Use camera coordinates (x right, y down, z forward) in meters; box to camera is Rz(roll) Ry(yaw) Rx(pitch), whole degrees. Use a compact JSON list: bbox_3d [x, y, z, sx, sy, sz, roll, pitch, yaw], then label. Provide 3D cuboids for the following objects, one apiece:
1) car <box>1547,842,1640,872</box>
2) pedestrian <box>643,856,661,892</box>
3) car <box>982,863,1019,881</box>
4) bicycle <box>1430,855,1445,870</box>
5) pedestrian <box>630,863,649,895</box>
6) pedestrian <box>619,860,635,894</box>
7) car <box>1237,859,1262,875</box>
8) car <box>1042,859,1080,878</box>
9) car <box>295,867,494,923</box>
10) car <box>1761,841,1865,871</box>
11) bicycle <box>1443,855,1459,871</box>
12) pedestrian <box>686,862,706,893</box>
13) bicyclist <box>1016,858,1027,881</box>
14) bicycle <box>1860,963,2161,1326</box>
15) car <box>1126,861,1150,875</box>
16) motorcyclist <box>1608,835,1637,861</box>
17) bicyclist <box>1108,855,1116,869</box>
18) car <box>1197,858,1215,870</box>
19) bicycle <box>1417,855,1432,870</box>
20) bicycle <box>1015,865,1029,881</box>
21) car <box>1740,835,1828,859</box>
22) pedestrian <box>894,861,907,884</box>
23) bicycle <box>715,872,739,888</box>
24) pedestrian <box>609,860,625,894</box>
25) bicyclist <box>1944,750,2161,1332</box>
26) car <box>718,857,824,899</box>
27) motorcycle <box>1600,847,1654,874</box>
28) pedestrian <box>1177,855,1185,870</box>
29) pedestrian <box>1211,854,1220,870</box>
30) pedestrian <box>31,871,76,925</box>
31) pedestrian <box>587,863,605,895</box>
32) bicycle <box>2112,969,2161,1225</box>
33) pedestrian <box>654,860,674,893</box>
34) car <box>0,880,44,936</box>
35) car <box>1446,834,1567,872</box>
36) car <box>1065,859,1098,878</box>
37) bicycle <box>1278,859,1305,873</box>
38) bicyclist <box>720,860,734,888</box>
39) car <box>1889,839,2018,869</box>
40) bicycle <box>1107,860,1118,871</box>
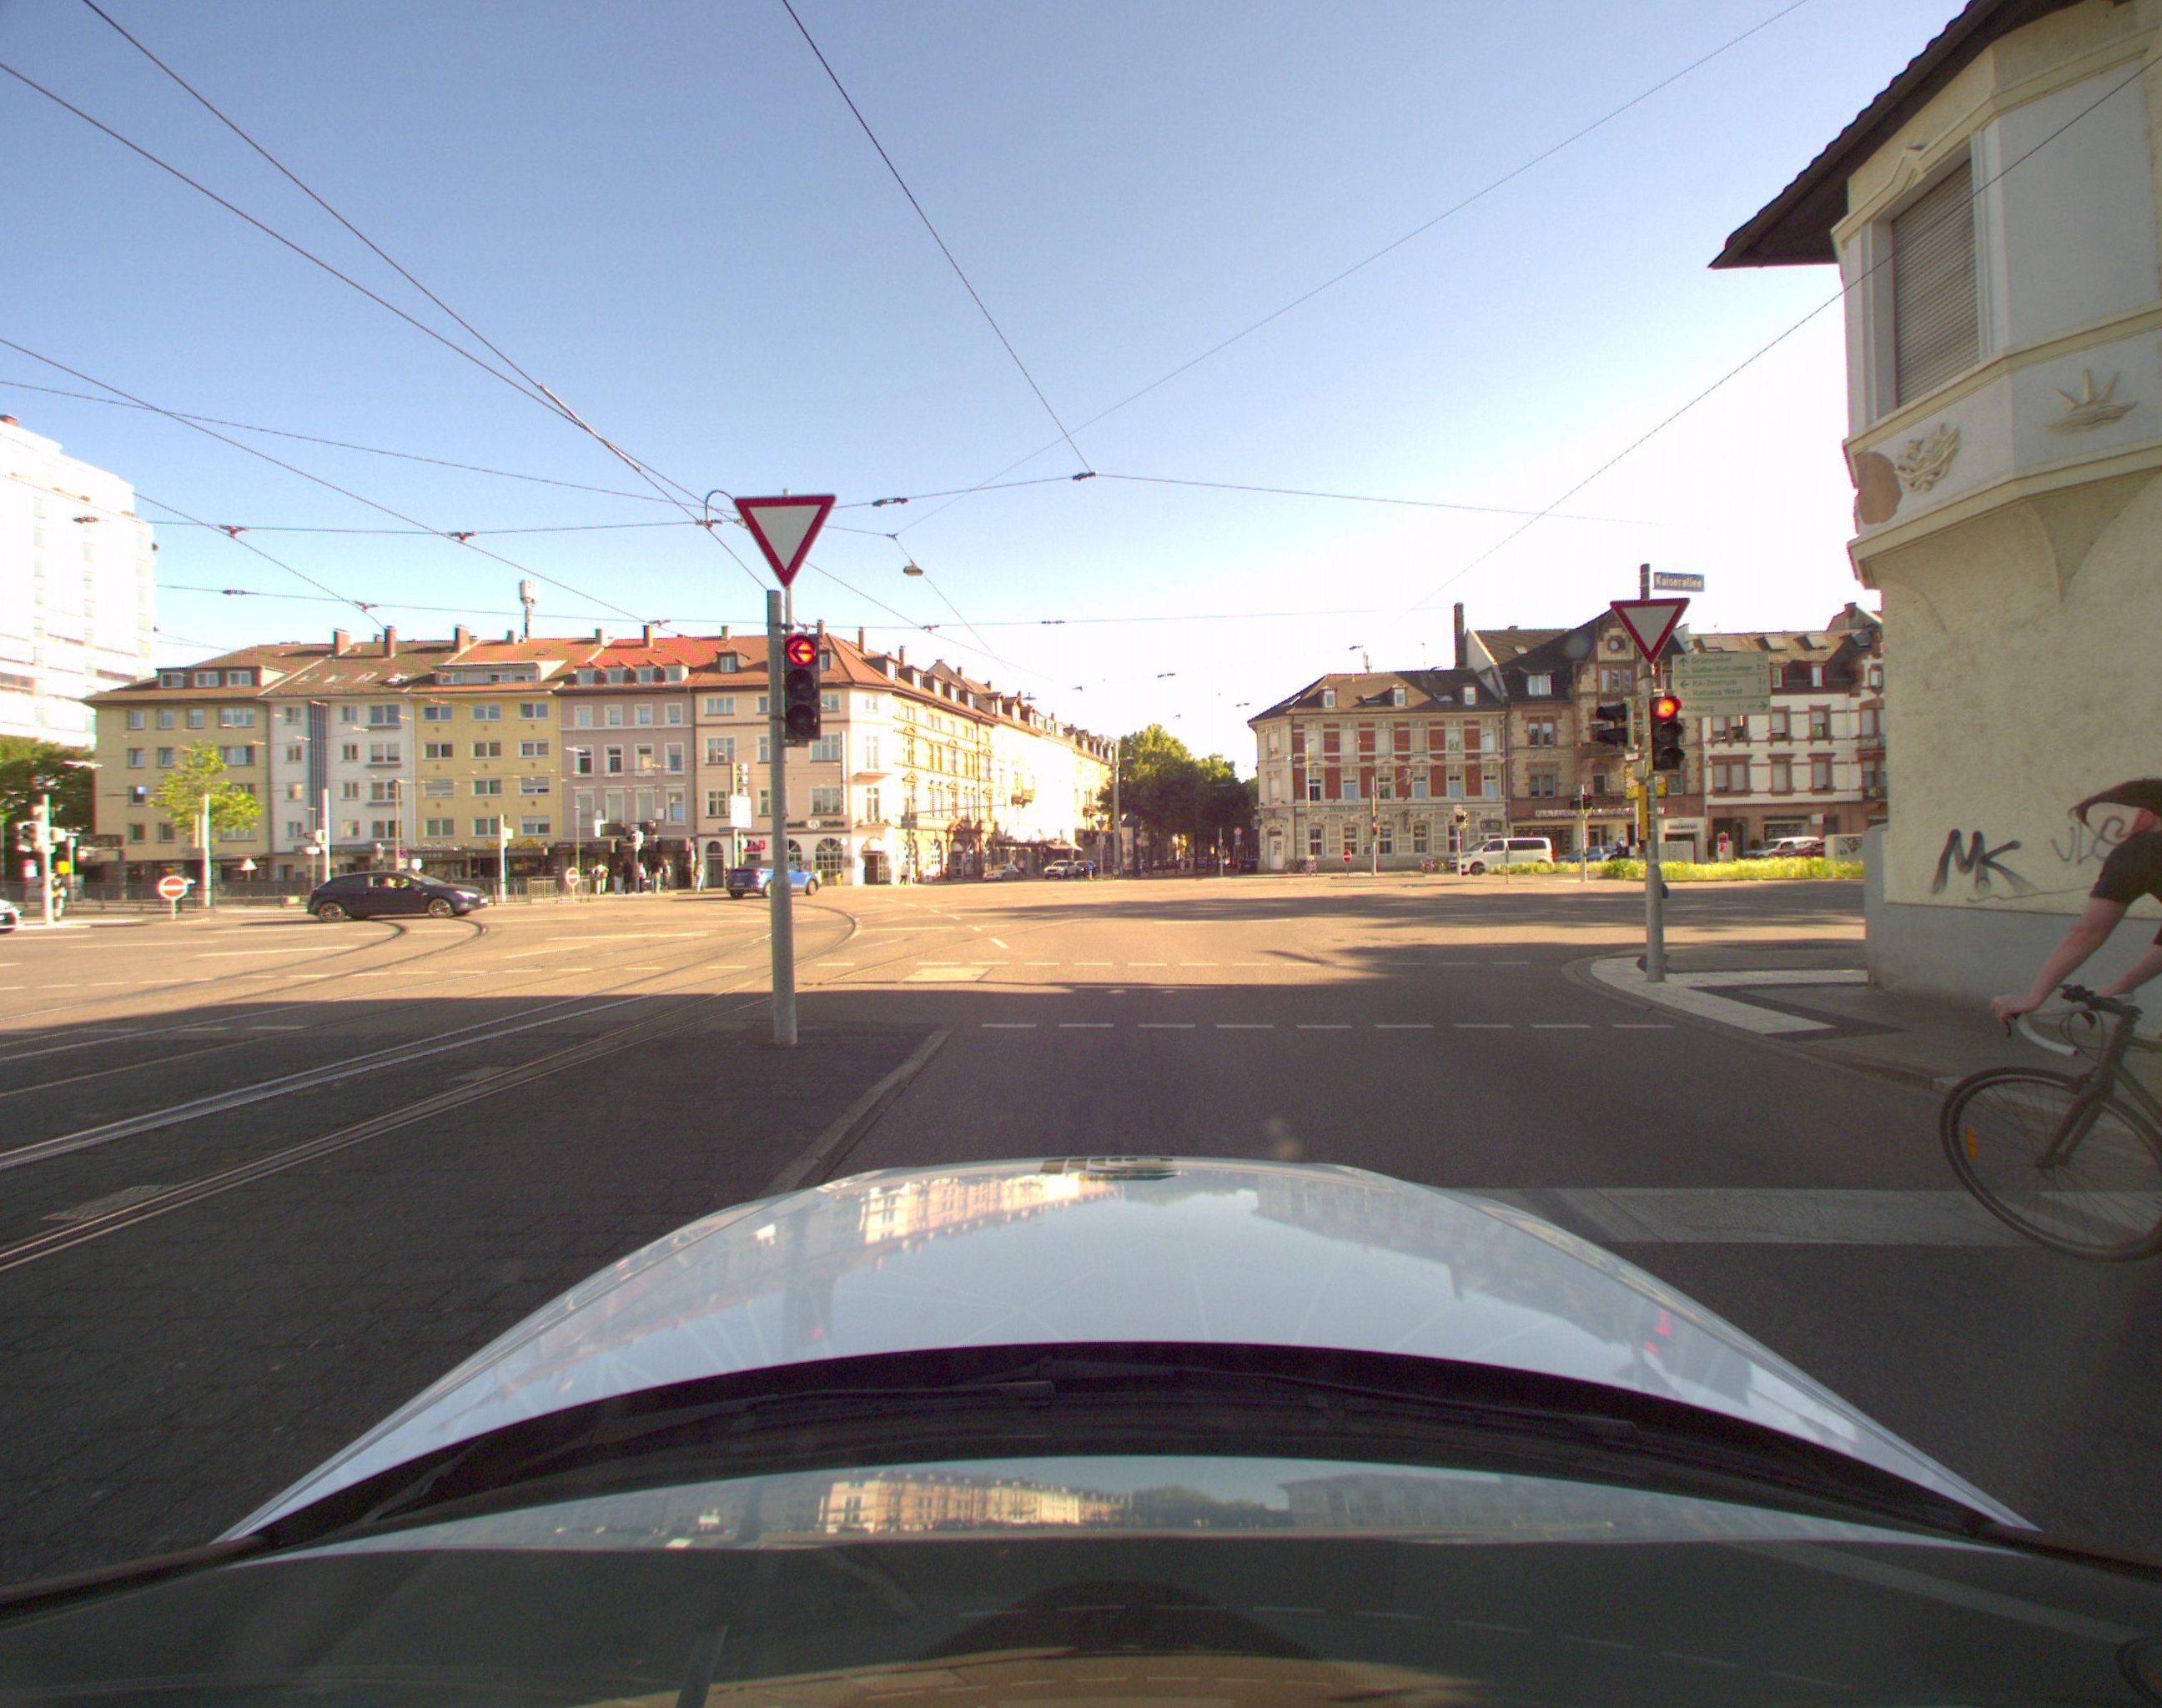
[{"bbox_3d":[28.327,0.184,45.108,3.970,1.622,1.806,0,-1,3],"label":"car"},{"bbox_3d":[-21.608,1.007,41.052,0.525,1.823,0.677,0,-1,1],"label":"pedestrian"},{"bbox_3d":[-6.600,1.476,67.403,1.647,1.374,3.909,-1,-1,17],"label":"car"},{"bbox_3d":[23.259,0.575,53.085,0.758,0.968,2.221,-1,-1,20],"label":"bicycle"},{"bbox_3d":[-22.956,1.297,42.352,0.571,1.648,0.727,0,-1,1],"label":"pedestrian"},{"bbox_3d":[-22.573,1.137,40.483,0.520,1.648,0.498,0,-1,1],"label":"pedestrian"},{"bbox_3d":[17.051,1.260,82.261,1.741,1.556,4.021,-1,-1,22],"label":"car"},{"bbox_3d":[-1.612,1.180,67.450,1.788,1.585,4.179,-1,-1,19],"label":"car"},{"bbox_3d":[-19.773,1.130,23.693,4.001,1.403,1.819,-1,0,-21],"label":"car"},{"bbox_3d":[37.401,0.082,41.655,3.854,1.426,1.596,-1,0,2],"label":"car"},{"bbox_3d":[24.069,0.569,53.024,0.758,0.983,2.221,-1,-1,20],"label":"bicycle"},{"bbox_3d":[-19.826,1.201,41.938,0.666,1.594,0.815,0,-1,1],"label":"pedestrian"},{"bbox_3d":[-4.767,1.229,65.396,0.561,1.804,0.918,-1,-1,17],"label":"bicyclist"},{"bbox_3d":[3.583,0.962,2.619,0.480,0.991,1.783,0,-1,2],"label":"bicycle"},{"bbox_3d":[6.522,1.559,92.620,1.788,1.575,3.908,-1,-1,17],"label":"car"},{"bbox_3d":[27.540,-0.284,41.430,1.008,1.300,0.792,-1,-1,12],"label":"motorcyclist"},{"bbox_3d":[3.583,0.956,93.149,0.668,1.568,0.751,-1,-1,20],"label":"bicyclist"},{"bbox_3d":[17.883,1.355,116.364,1.978,1.684,4.018,-1,-1,17],"label":"car"},{"bbox_3d":[22.504,0.582,53.351,0.758,0.963,2.221,-1,-1,20],"label":"bicycle"},{"bbox_3d":[-4.742,1.503,65.439,0.561,1.254,1.564,-1,-1,17],"label":"bicycle"},{"bbox_3d":[45.197,-0.433,52.425,3.961,1.438,1.874,0,-1,5],"label":"car"},{"bbox_3d":[-13.024,1.332,58.680,0.562,1.642,0.797,-1,-1,25],"label":"pedestrian"},{"bbox_3d":[-23.064,1.688,53.055,0.618,1.030,1.758,0,-1,7],"label":"bicycle"},{"bbox_3d":[-23.184,1.143,40.674,0.520,1.648,0.498,0,-1,1],"label":"pedestrian"},{"bbox_3d":[3.579,0.568,2.623,0.587,1.767,0.936,0,-1,2],"label":"bicyclist"},{"bbox_3d":[-12.611,0.934,33.440,1.811,1.575,4.218,-1,0,17],"label":"car"},{"bbox_3d":[27.723,0.346,41.384,2.121,1.333,0.799,-1,-1,11],"label":"motorcycle"},{"bbox_3d":[14.286,1.198,115.997,0.936,2.014,0.830,-1,-1,16],"label":"pedestrian"},{"bbox_3d":[16.853,1.034,101.946,0.957,2.014,0.919,0,-1,3],"label":"pedestrian"},{"bbox_3d":[-31.587,1.325,25.042,0.770,1.609,0.605,0,-1,-44],"label":"pedestrian"},{"bbox_3d":[-25.081,1.305,42.106,0.582,1.648,0.616,0,-1,1],"label":"pedestrian"},{"bbox_3d":[4.453,0.954,2.440,0.501,0.983,1.783,0,-1,2],"label":"bicycle"},{"bbox_3d":[-21.548,1.153,42.060,0.580,1.648,0.840,0,-1,1],"label":"pedestrian"},{"bbox_3d":[-30.681,1.530,21.642,3.977,1.454,1.901,-2,0,4],"label":"car"},{"bbox_3d":[21.863,-0.048,41.979,5.179,1.854,2.001,-1,0,1],"label":"car"},{"bbox_3d":[0.070,1.292,73.769,1.809,1.685,3.893,-1,-1,18],"label":"car"},{"bbox_3d":[14.707,0.833,56.913,1.789,0.963,0.606,-1,-1,16],"label":"bicycle"},{"bbox_3d":[-23.063,1.294,53.053,0.618,1.790,0.616,0,-1,7],"label":"bicyclist"},{"bbox_3d":[46.317,-0.025,43.290,4.839,1.469,1.805,-1,1,2],"label":"car"},{"bbox_3d":[3.585,1.314,93.143,0.668,1.207,1.831,-1,-1,20],"label":"bicycle"}]
